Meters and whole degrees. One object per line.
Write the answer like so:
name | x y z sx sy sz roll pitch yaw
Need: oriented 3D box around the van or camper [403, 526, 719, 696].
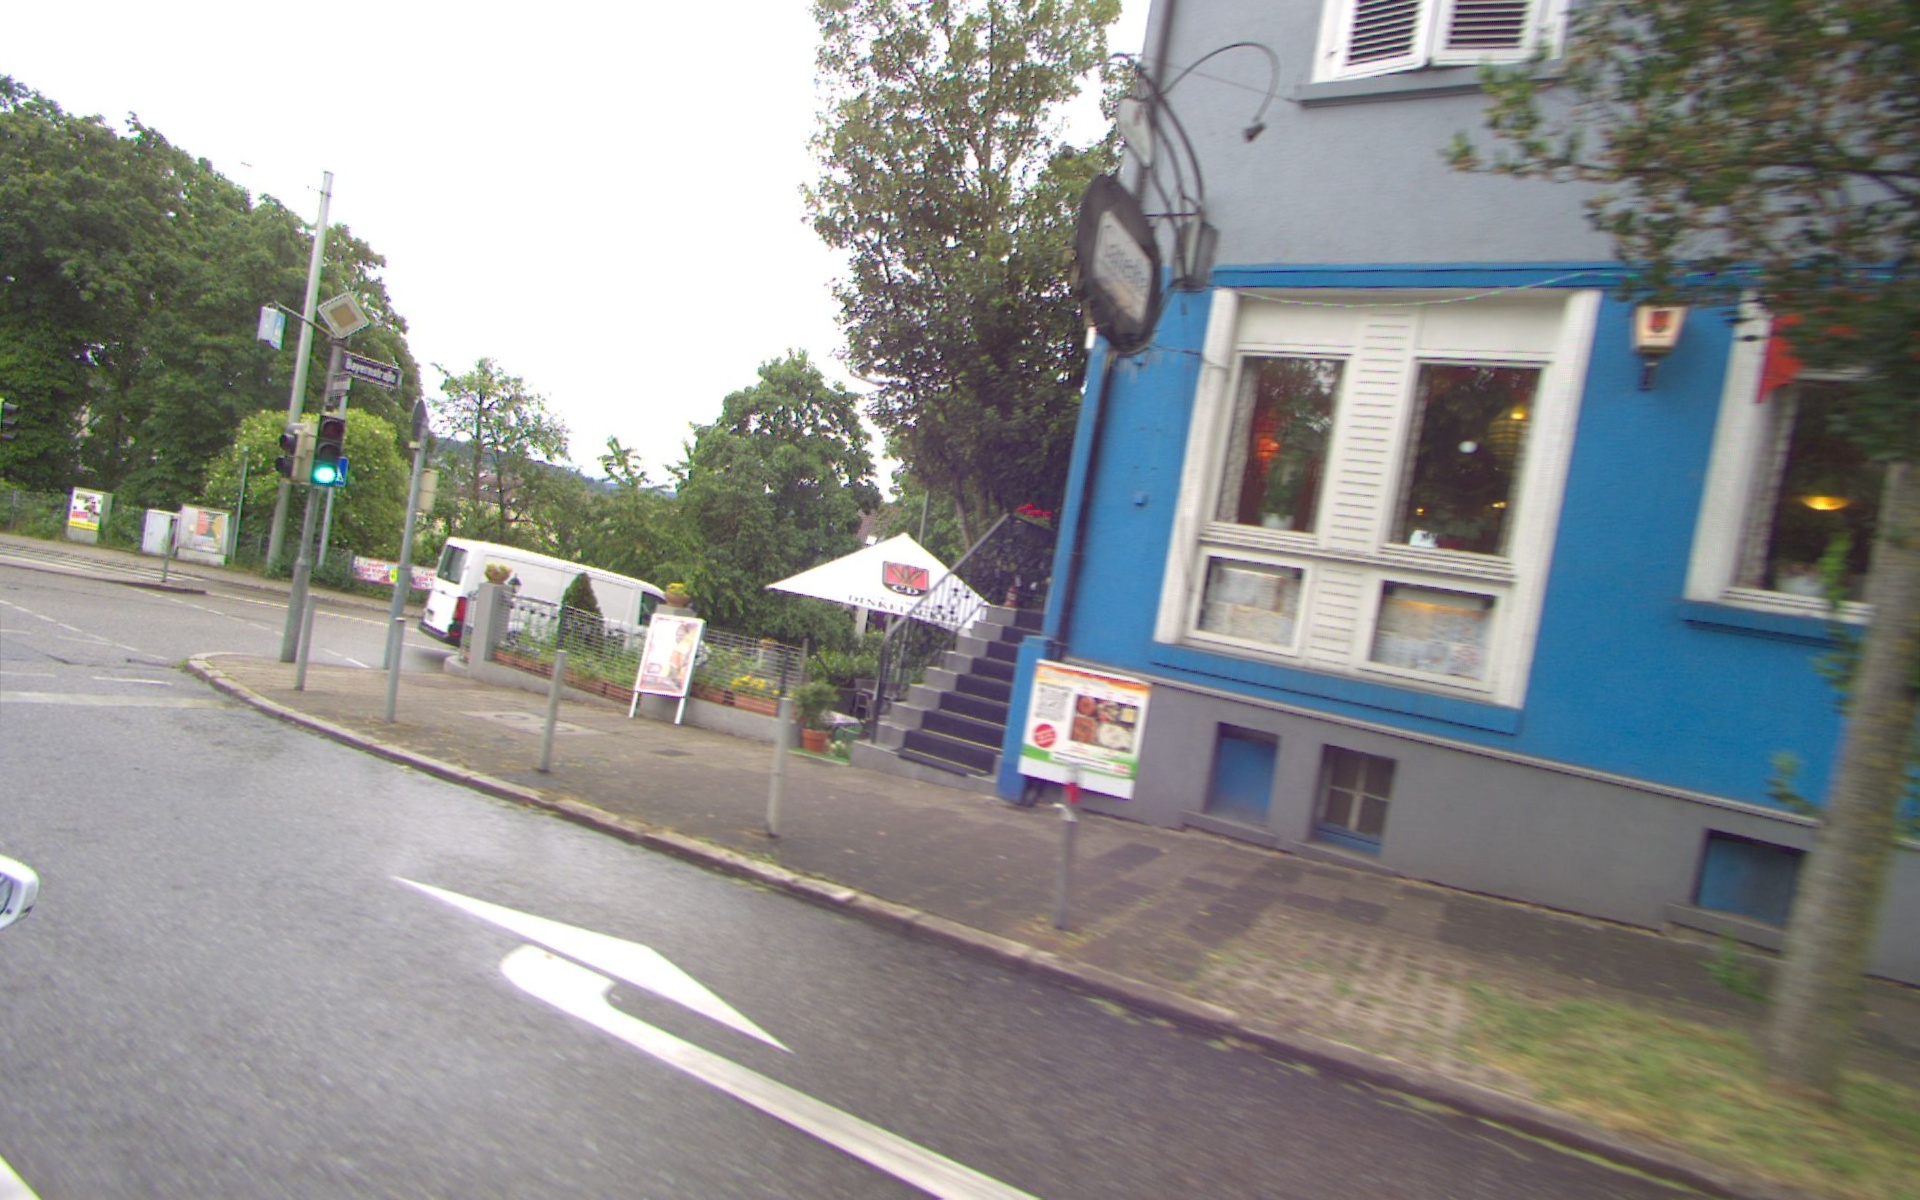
van or camper | -8.045 0.329 20.750 2.083 2.349 5.399 9 -4 45
